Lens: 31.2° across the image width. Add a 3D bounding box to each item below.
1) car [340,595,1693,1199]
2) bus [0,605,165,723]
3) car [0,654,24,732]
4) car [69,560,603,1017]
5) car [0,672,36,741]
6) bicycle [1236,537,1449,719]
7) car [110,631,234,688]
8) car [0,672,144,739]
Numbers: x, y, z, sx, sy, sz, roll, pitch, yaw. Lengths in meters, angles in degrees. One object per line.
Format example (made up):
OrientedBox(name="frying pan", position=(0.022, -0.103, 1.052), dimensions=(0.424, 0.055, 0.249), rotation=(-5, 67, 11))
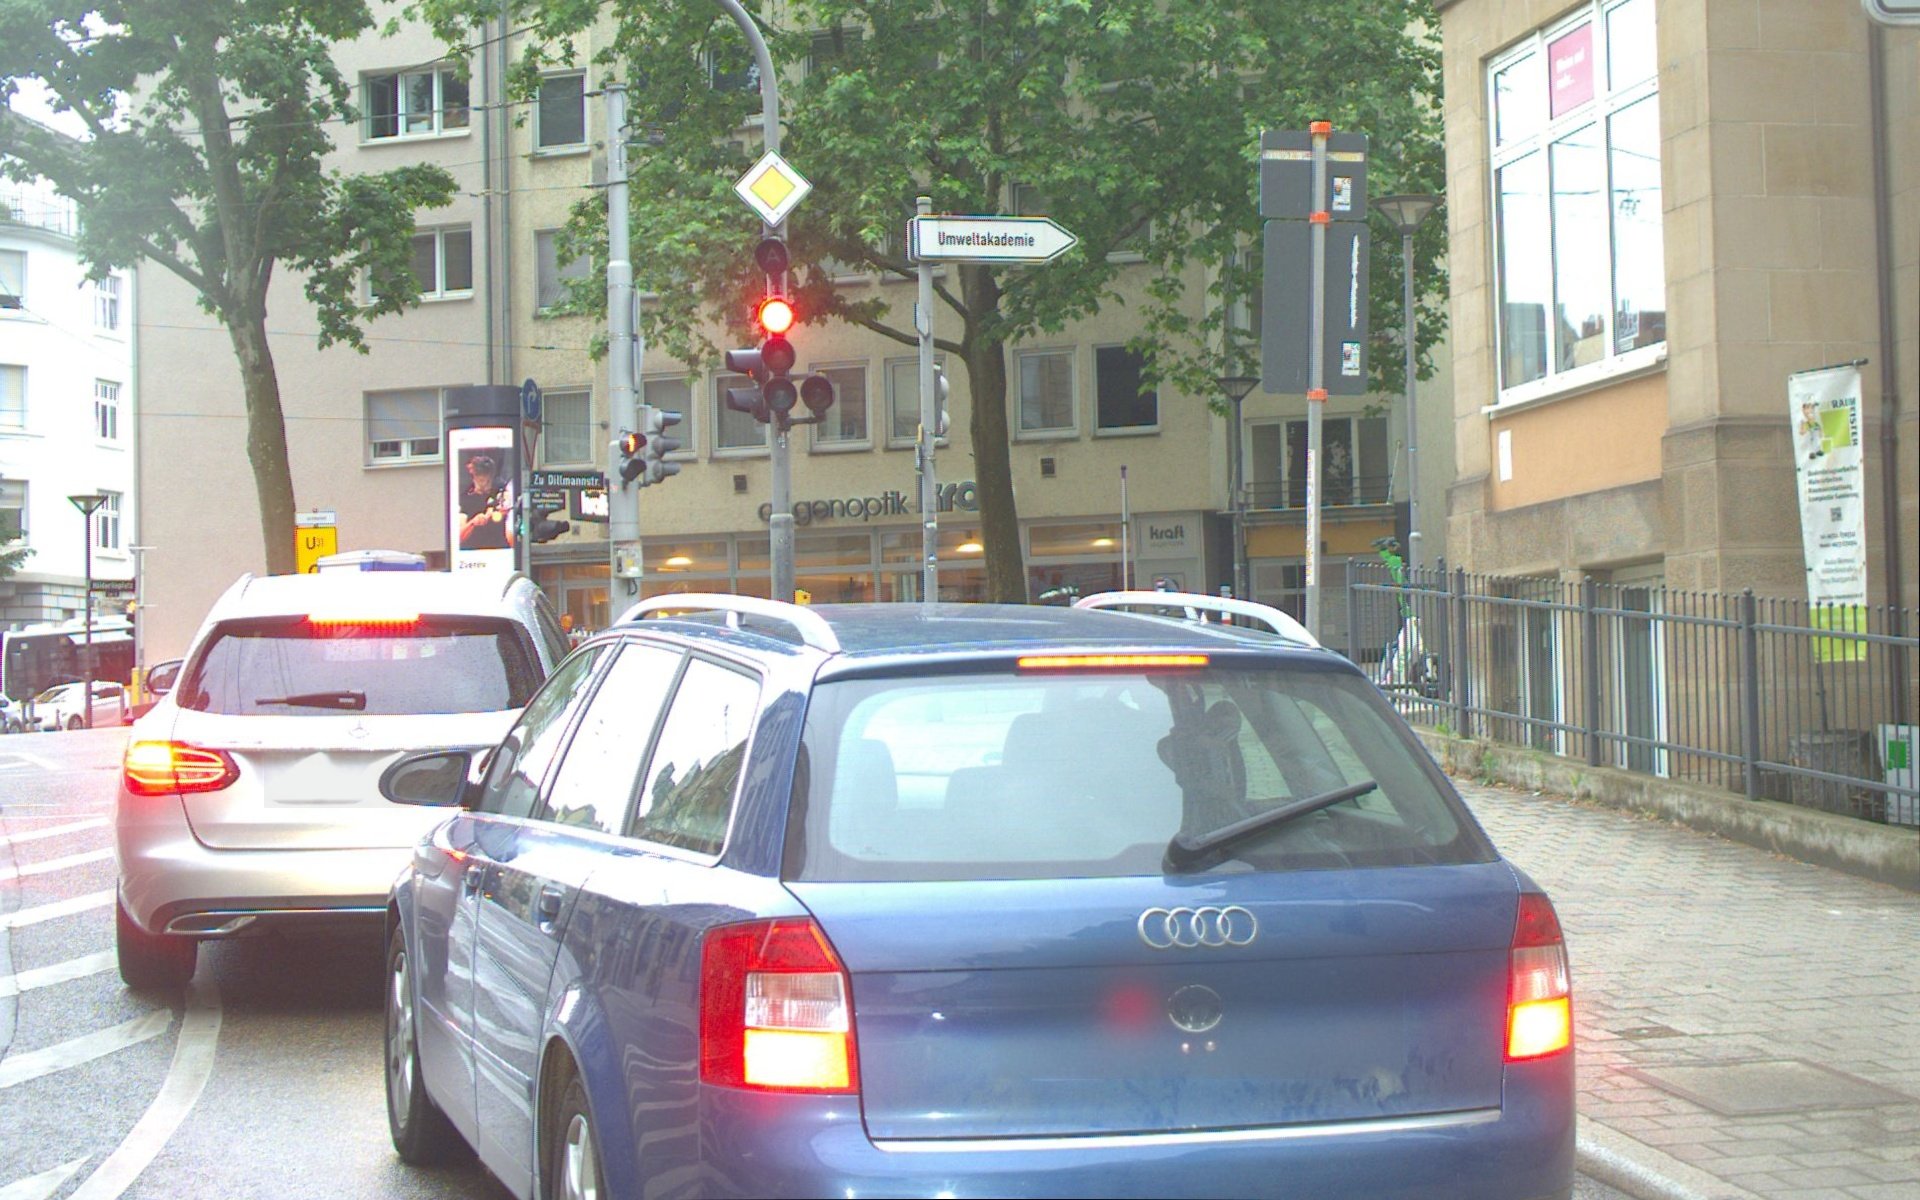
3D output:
OrientedBox(name="car", position=(-0.214, 0.729, 7.248), dimensions=(1.710, 1.410, 4.037), rotation=(0, 1, -17))
OrientedBox(name="bus", position=(-25.180, 1.707, 94.290), dimensions=(2.856, 2.851, 8.728), rotation=(-1, 1, 14))
OrientedBox(name="car", position=(-19.973, 1.930, 68.091), dimensions=(1.794, 1.505, 4.000), rotation=(-4, 1, -1))
OrientedBox(name="car", position=(-2.257, 0.586, 12.946), dimensions=(1.710, 1.451, 3.554), rotation=(0, 1, -8))
OrientedBox(name="car", position=(-24.336, 2.662, 83.437), dimensions=(1.796, 1.609, 3.997), rotation=(-1, 1, 17))
OrientedBox(name="bicycle", position=(2.638, 0.182, 23.735), dimensions=(1.300, 1.169, 0.526), rotation=(-3, 1, -12))
OrientedBox(name="car", position=(-23.374, 1.761, 102.095), dimensions=(1.796, 1.505, 3.997), rotation=(-1, 1, 17))
OrientedBox(name="car", position=(-22.886, 2.694, 88.526), dimensions=(1.796, 1.505, 3.997), rotation=(-1, 1, 17))
